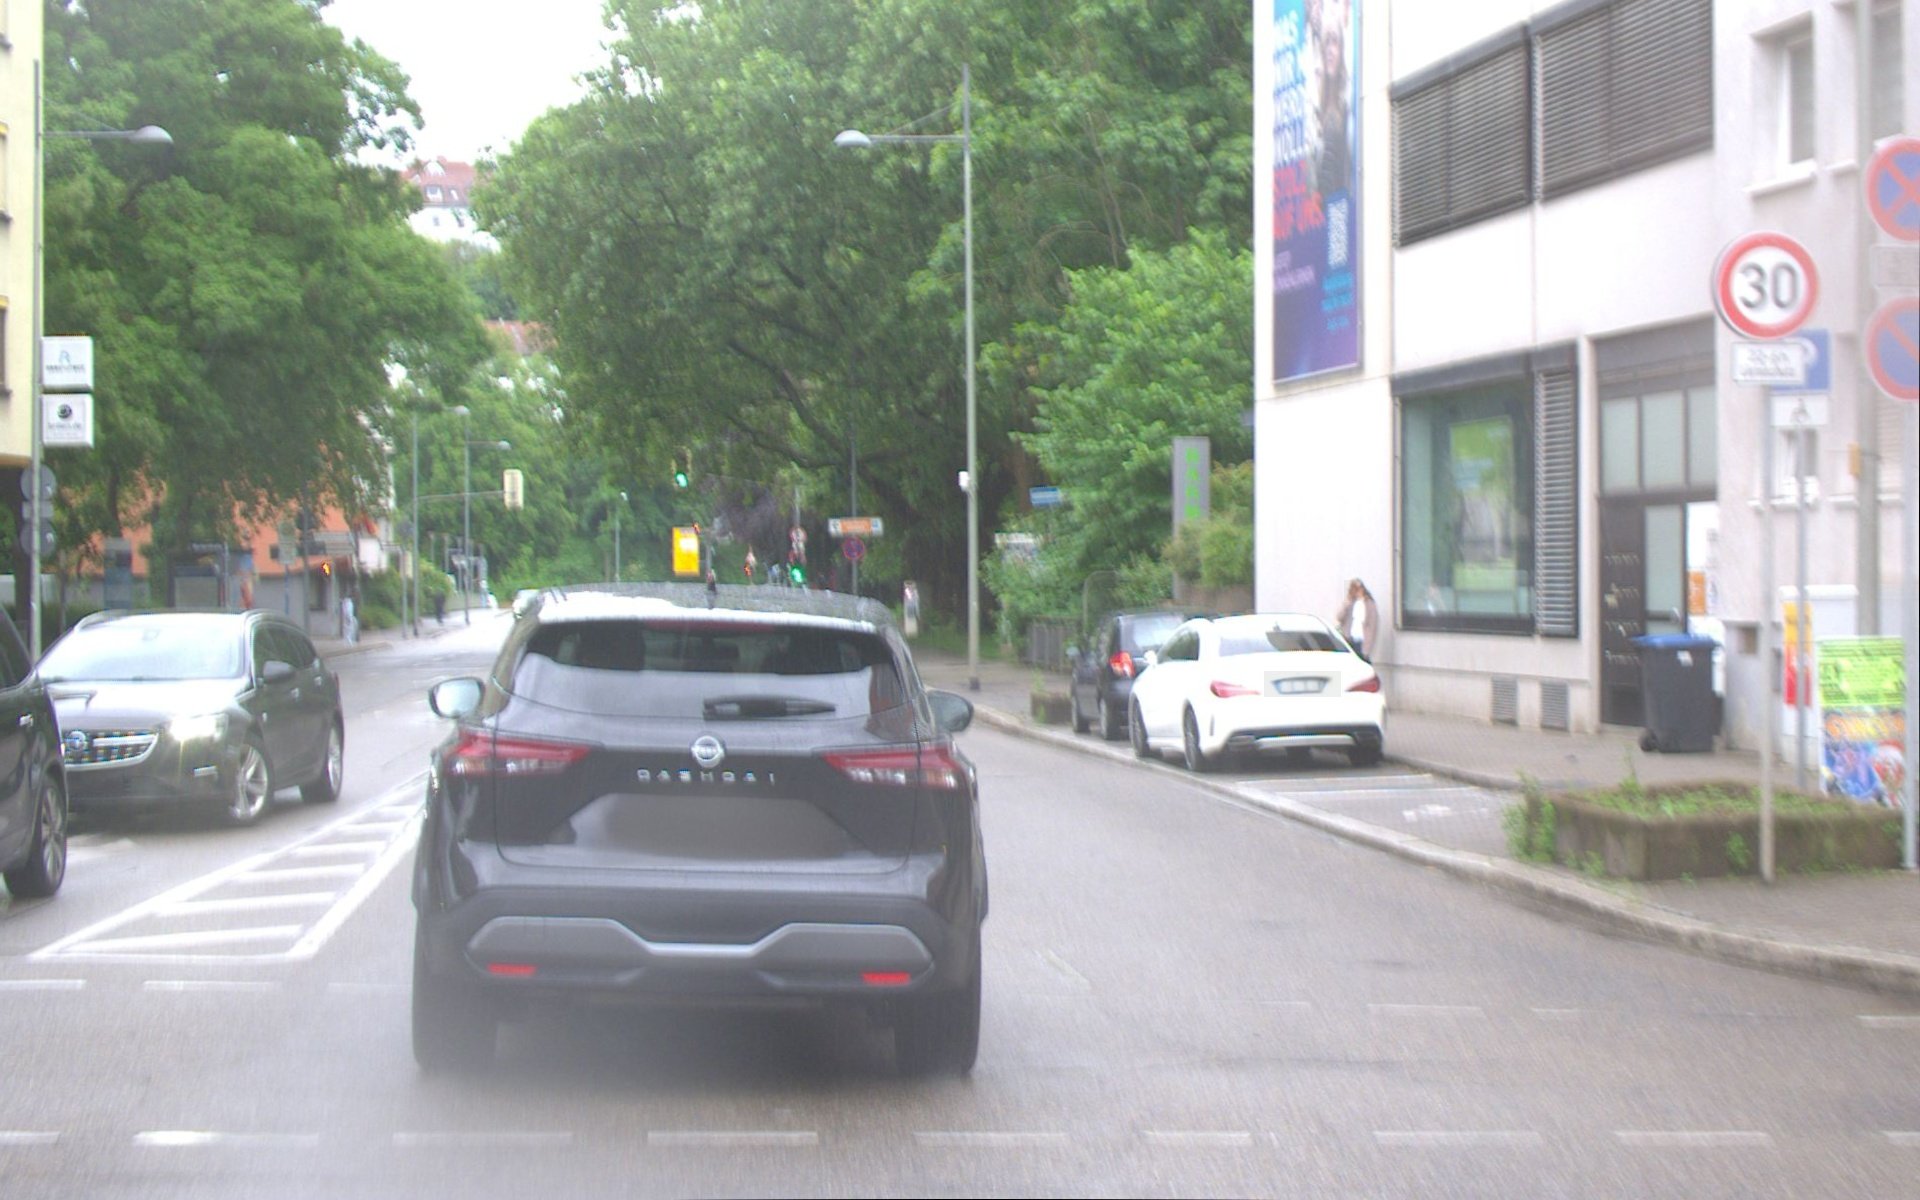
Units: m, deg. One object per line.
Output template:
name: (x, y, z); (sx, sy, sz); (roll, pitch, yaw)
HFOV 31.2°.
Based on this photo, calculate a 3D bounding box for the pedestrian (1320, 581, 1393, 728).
pedestrian: (4.786, 0.653, 41.501); (0.612, 1.731, 0.681); (-2, 0, -13)

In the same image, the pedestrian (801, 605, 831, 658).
pedestrian: (-4.958, 1.091, 118.364); (0.721, 1.785, 0.667); (1, 0, 43)

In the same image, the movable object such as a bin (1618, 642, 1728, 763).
movable object such as a bin: (6.433, 0.918, 31.041); (0.712, 1.064, 0.784); (-1, 0, -12)

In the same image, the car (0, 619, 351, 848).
car: (-5.565, 0.864, 24.050); (1.821, 1.428, 4.399); (-1, 0, 0)

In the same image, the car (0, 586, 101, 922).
car: (-5.495, 0.746, 16.343); (1.820, 1.603, 4.430); (-1, -1, -2)

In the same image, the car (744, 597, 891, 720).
car: (-2.320, 0.927, 55.037); (1.945, 1.810, 4.001); (-2, -1, -7)

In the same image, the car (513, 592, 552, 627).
car: (-22.524, 0.504, 181.354); (1.820, 1.790, 3.866); (1, 0, -4)

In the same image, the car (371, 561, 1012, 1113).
car: (-0.997, 0.737, 12.218); (1.894, 1.623, 4.000); (0, -1, -6)

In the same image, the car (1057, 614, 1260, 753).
car: (2.221, 0.917, 39.521); (1.714, 1.437, 4.082); (-2, 0, -5)

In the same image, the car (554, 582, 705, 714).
car: (-4.562, 0.666, 47.867); (1.945, 1.679, 4.000); (-2, -1, -5)

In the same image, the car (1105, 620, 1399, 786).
car: (2.716, 0.931, 33.064); (1.774, 1.396, 4.581); (-2, 0, -8)

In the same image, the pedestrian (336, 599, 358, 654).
pedestrian: (-20.335, 0.877, 114.018); (0.666, 1.785, 0.722); (1, 0, -12)

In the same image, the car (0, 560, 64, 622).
car: (-27.633, -0.287, 97.888); (3.832, 1.728, 1.880); (1, 0, -7)
